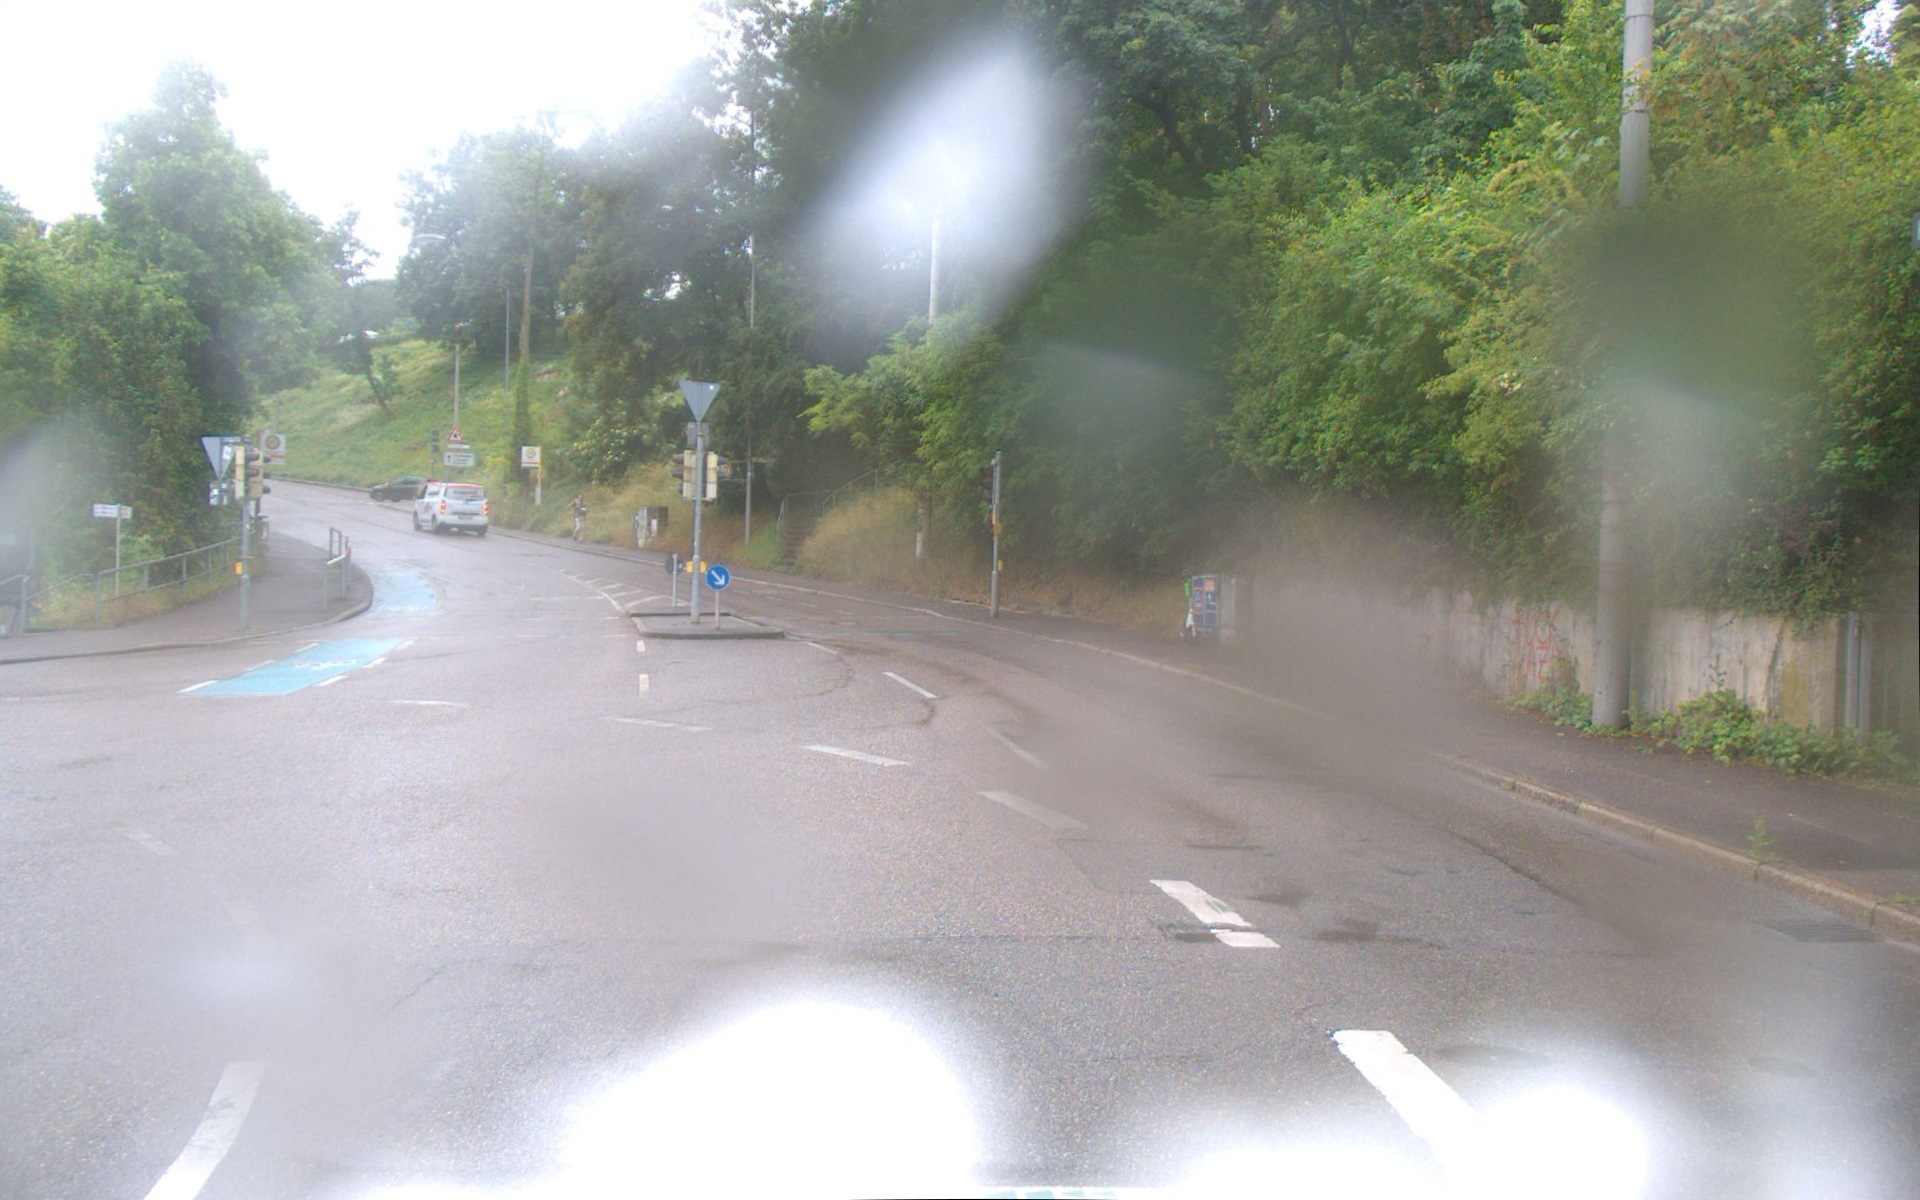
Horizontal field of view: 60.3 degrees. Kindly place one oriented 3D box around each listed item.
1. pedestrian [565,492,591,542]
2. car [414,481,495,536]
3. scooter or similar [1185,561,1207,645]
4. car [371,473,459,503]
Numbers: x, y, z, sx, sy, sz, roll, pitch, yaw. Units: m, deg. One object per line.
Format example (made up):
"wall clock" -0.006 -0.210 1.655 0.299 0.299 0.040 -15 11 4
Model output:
"pedestrian" -14.187 -3.071 61.432 0.867 1.767 0.861 1 -1 -18
"car" -19.975 -3.562 65.189 2.044 2.041 4.767 0 1 -30
"scooter or similar" 3.782 0.033 26.523 0.315 1.302 0.752 0 3 7
"car" -30.732 -6.324 93.345 4.297 1.538 1.965 3 3 13
